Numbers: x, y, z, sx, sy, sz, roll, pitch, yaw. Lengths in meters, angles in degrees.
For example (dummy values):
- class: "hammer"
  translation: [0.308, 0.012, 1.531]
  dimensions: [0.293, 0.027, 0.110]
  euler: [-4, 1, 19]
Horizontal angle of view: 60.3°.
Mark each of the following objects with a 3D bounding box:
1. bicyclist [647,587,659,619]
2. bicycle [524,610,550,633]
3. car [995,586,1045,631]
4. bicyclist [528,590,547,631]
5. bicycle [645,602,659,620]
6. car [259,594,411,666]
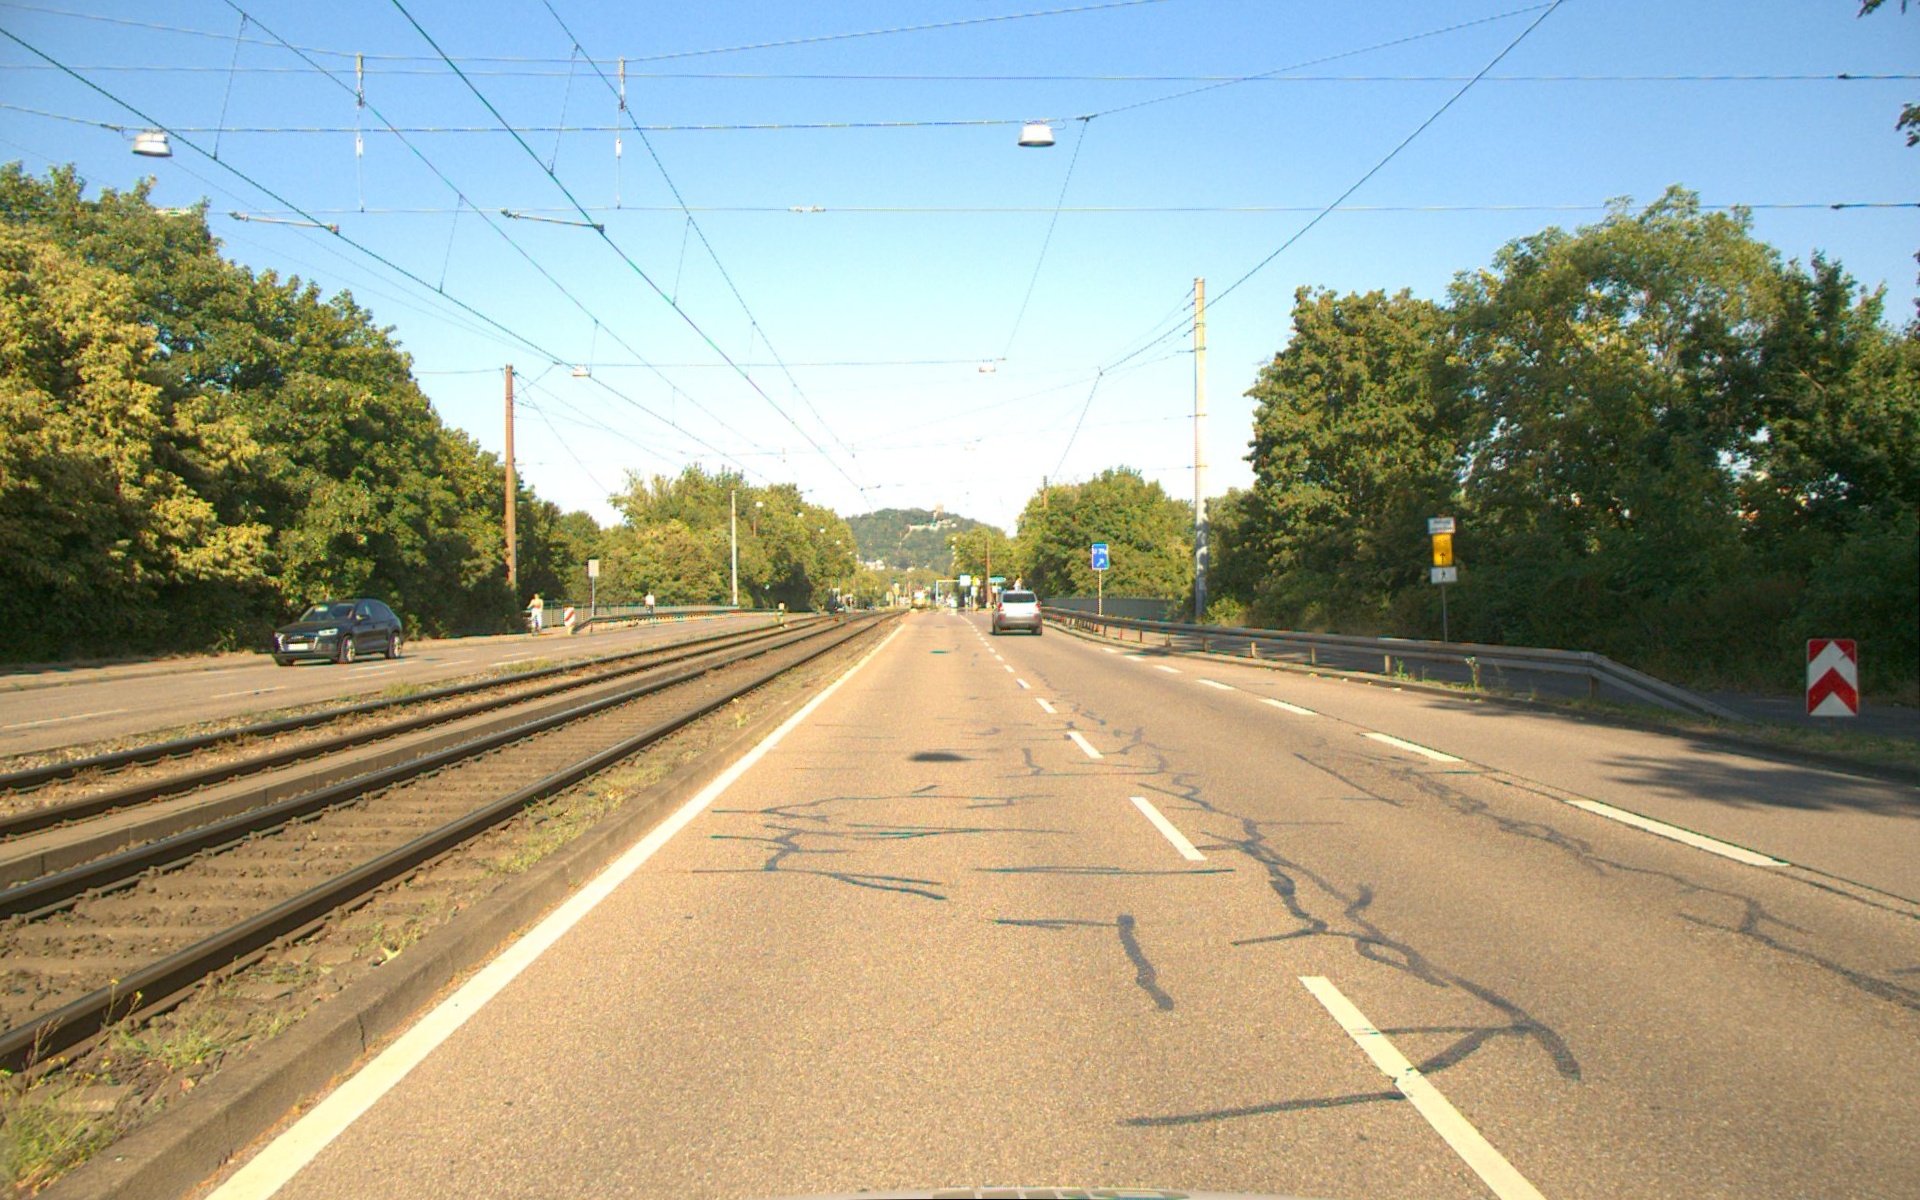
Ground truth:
- class: "bicyclist"
  translation: [-18.420, 0.202, 99.102]
  dimensions: [0.529, 1.895, 0.875]
  euler: [1, 0, -1]
- class: "bicycle"
  translation: [-17.782, 0.898, 69.597]
  dimensions: [0.497, 0.908, 2.028]
  euler: [1, 0, 2]
- class: "car"
  translation: [2.322, 0.318, 64.430]
  dimensions: [1.849, 1.723, 4.257]
  euler: [0, 0, 2]
- class: "bicyclist"
  translation: [-17.775, 0.429, 69.588]
  dimensions: [0.497, 1.716, 0.919]
  euler: [1, 0, 2]
- class: "bicycle"
  translation: [-18.430, 0.637, 99.015]
  dimensions: [0.529, 1.061, 1.925]
  euler: [1, 0, -1]
- class: "car"
  translation: [-16.247, 0.742, 43.293]
  dimensions: [1.952, 1.715, 4.797]
  euler: [-2, 0, 2]
